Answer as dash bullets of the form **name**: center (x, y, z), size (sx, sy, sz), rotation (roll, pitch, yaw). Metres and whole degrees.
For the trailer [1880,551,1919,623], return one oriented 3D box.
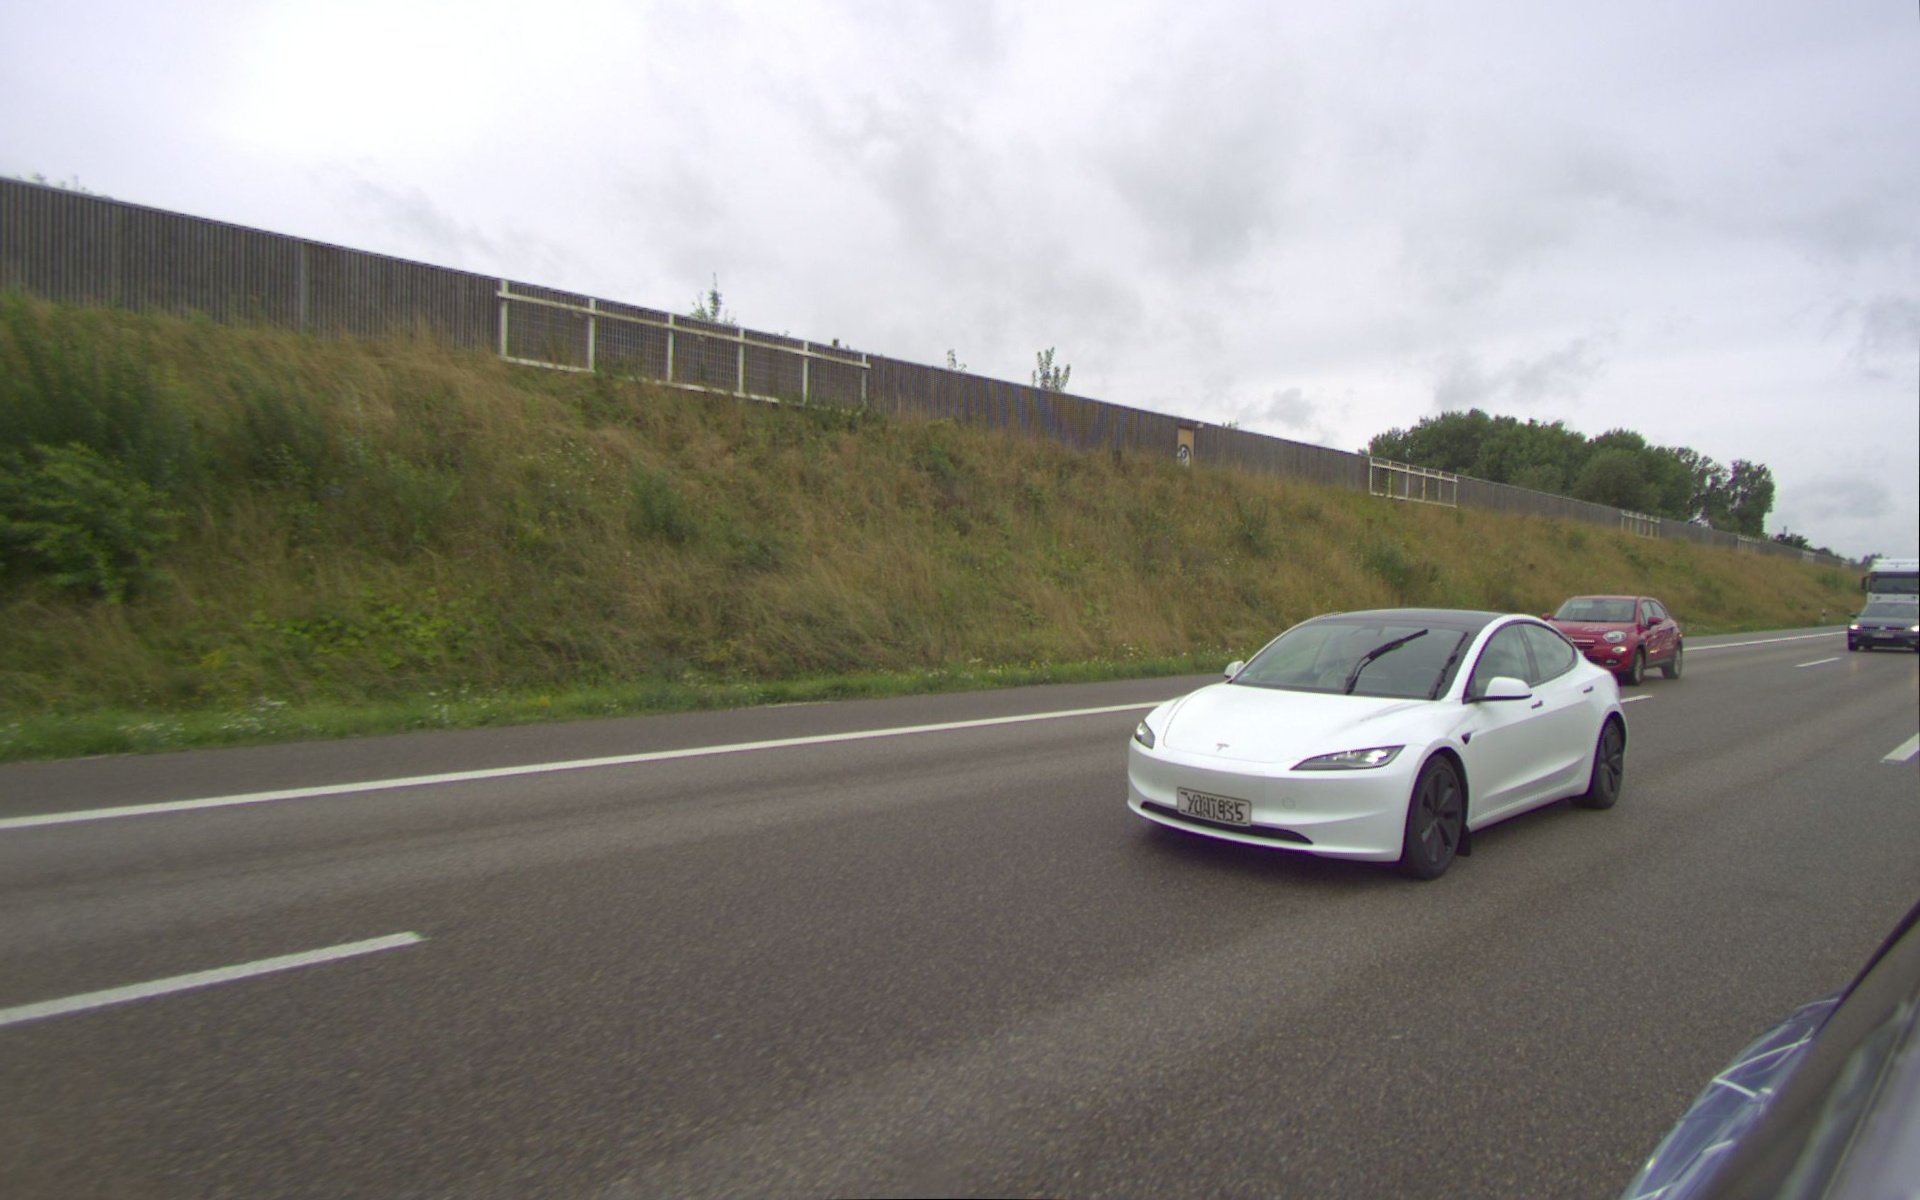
- **trailer**: center (59.740, -0.804, 62.354), size (14.962, 4.077, 3.086), rotation (-1, 0, -42)

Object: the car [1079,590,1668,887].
- **car**: center (3.112, 0.629, 7.013), size (4.729, 1.380, 1.876), rotation (-1, 0, -41)

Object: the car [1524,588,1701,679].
- **car**: center (12.481, 0.550, 19.275), size (3.932, 1.554, 1.876), rotation (-1, 0, -42)

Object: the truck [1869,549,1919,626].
- **truck**: center (53.350, -0.696, 56.573), size (6.838, 4.077, 3.086), rotation (0, 0, -42)

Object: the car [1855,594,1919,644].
- **car**: center (30.365, 0.566, 32.512), size (4.409, 1.508, 1.927), rotation (-1, 0, -42)
